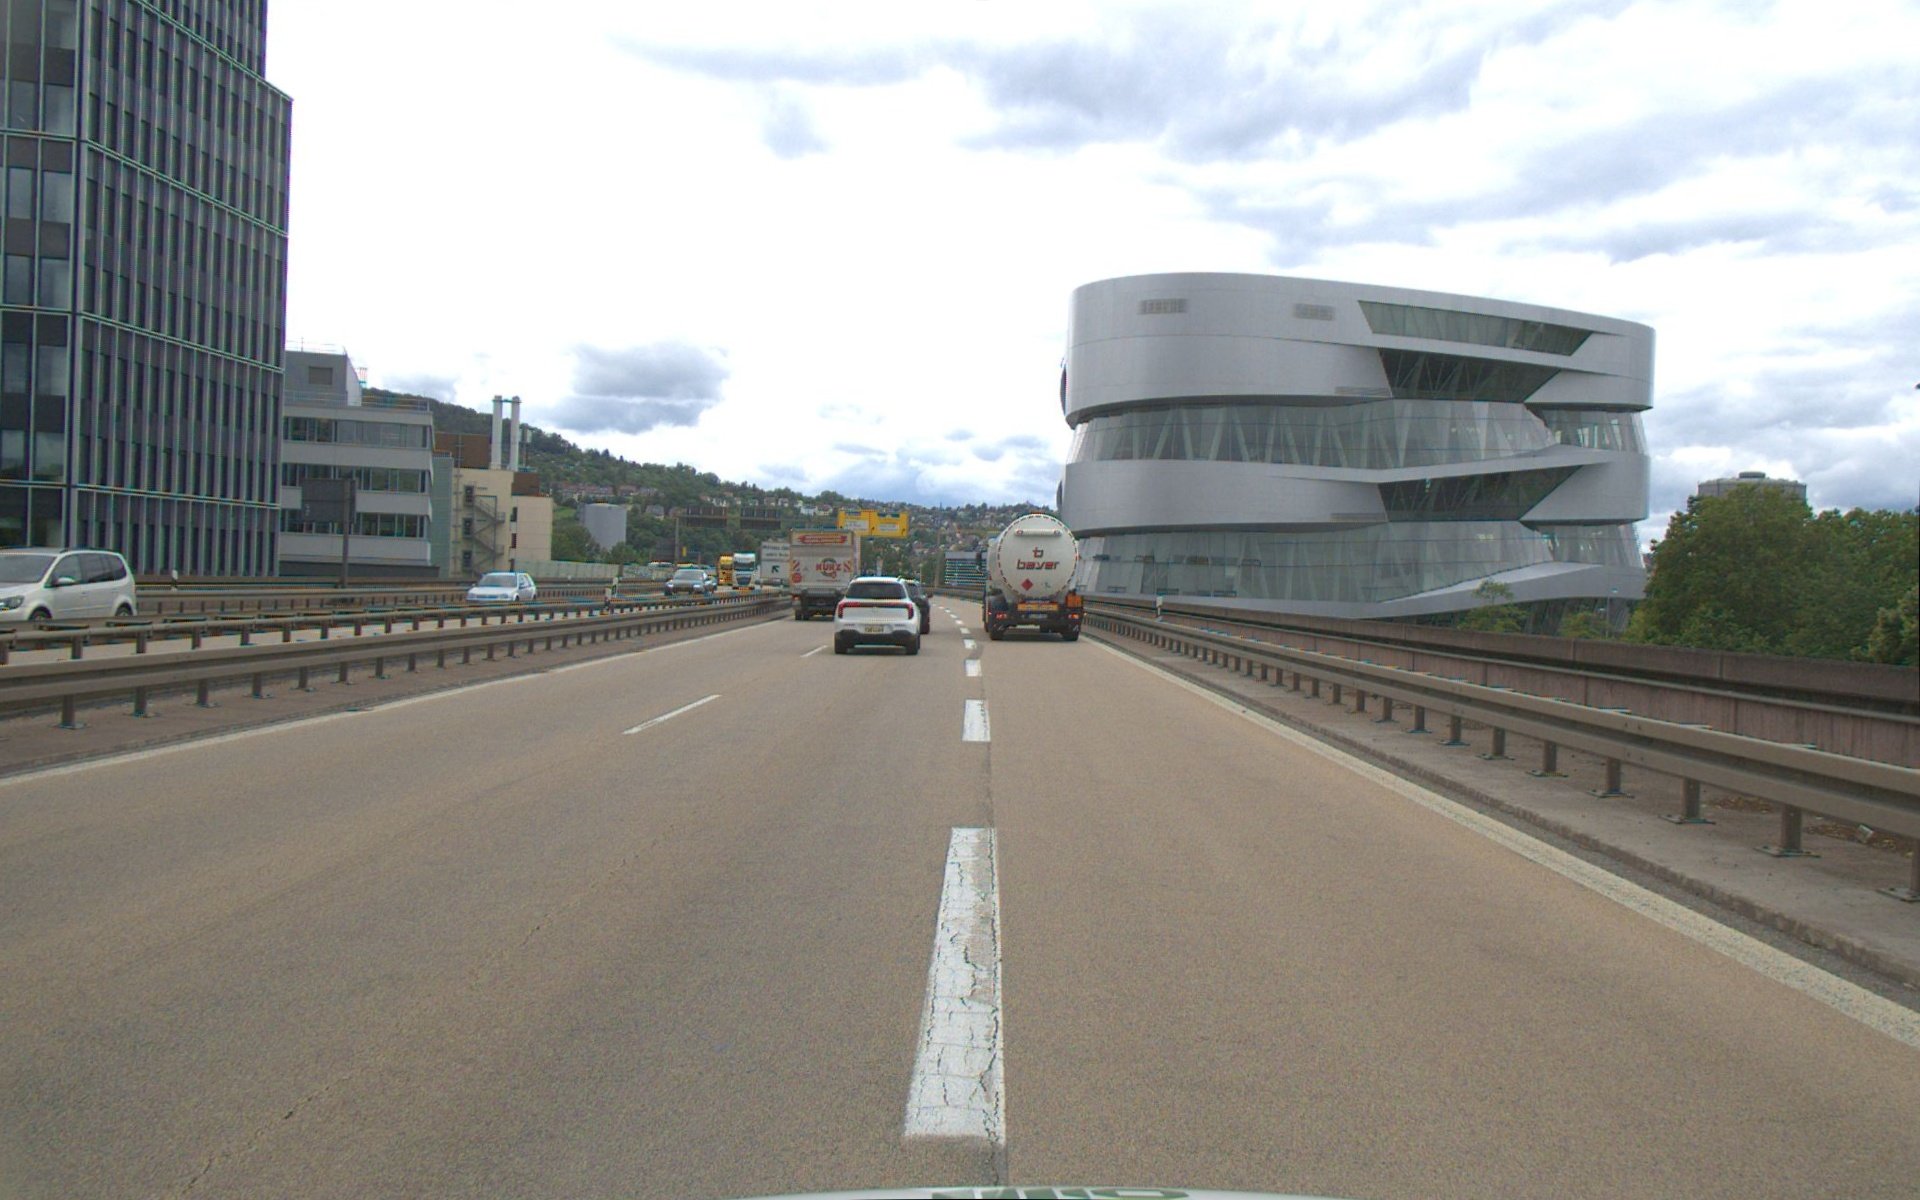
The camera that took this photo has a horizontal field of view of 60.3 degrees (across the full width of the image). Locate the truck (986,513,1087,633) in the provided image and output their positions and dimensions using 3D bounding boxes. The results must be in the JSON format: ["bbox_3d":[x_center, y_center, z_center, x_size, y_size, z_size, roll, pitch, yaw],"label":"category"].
[{"bbox_3d":[2.413,-0.836,54.503,2.953,3.721,6.272,1,0,-1],"label":"truck"}]

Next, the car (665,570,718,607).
[{"bbox_3d":[-13.051,-0.547,80.488,1.726,1.679,4.335,3,0,1],"label":"car"}]

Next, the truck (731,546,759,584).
[{"bbox_3d":[-24.307,-3.930,187.350,2.717,4.151,5.642,1,0,-4],"label":"truck"}]

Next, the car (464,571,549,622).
[{"bbox_3d":[-15.887,-0.115,58.147,1.648,1.679,4.449,2,0,1],"label":"car"}]

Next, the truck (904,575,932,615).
[{"bbox_3d":[-5.128,-0.594,201.028,2.996,4.642,8.297,1,0,-4],"label":"truck"}]

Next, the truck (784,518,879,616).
[{"bbox_3d":[-5.208,-1.286,68.562,2.993,3.755,8.305,1,0,2],"label":"truck"}]

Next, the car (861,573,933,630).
[{"bbox_3d":[-1.933,0.037,52.144,1.952,1.704,4.409,1,0,2],"label":"car"}]

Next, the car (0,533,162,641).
[{"bbox_3d":[-15.559,-0.222,28.237,1.648,1.679,4.313,2,0,1],"label":"car"}]

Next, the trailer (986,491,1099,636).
[{"bbox_3d":[2.330,-0.980,48.446,2.993,3.856,8.305,1,0,2],"label":"trailer"}]

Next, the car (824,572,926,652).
[{"bbox_3d":[-1.873,0.256,37.694,1.952,1.704,4.409,1,0,2],"label":"car"}]

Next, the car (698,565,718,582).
[{"bbox_3d":[-26.570,-2.793,174.552,1.649,1.679,4.357,2,0,-3],"label":"car"}]
